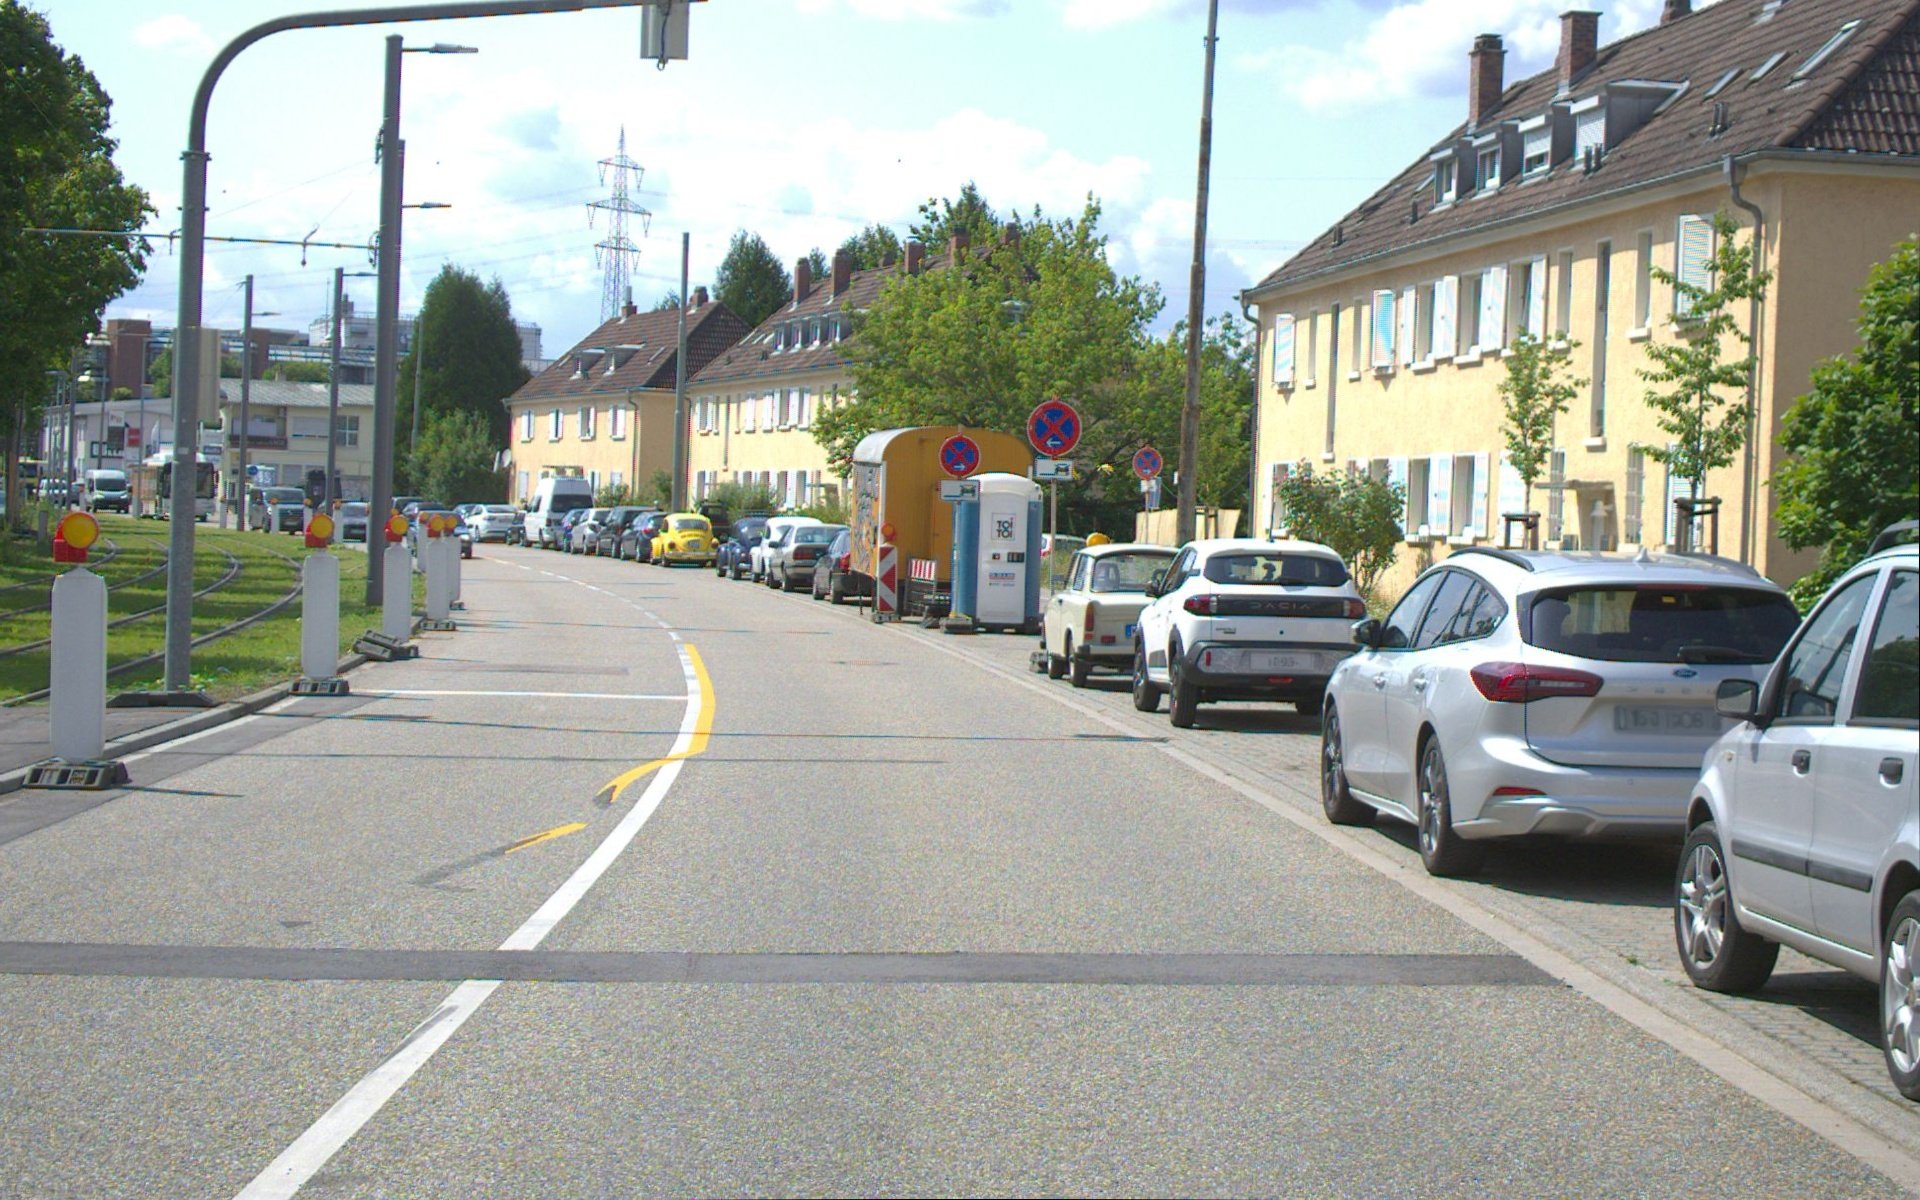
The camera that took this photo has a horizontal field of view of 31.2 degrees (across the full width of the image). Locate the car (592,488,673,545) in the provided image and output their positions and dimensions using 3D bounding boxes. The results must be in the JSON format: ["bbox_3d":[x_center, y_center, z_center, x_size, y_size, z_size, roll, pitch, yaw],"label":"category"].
[{"bbox_3d":[-10.036,-2.558,105.033,1.635,1.597,3.933,2,2,-17],"label":"car"}]

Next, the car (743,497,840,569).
[{"bbox_3d":[-3.820,-1.530,77.386,1.577,1.507,4.461,2,2,-10],"label":"car"}]

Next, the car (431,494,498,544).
[{"bbox_3d":[-14.900,-2.453,103.289,1.665,1.444,3.961,-1,2,-13],"label":"car"}]

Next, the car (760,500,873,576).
[{"bbox_3d":[-3.057,-1.323,72.348,1.706,1.444,4.837,2,2,-10],"label":"car"}]

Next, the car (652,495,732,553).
[{"bbox_3d":[-7.408,-2.123,94.761,1.636,1.477,3.933,-1,3,-13],"label":"car"}]

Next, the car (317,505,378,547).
[{"bbox_3d":[-22.199,-2.693,124.575,1.724,1.384,4.123,2,1,-16],"label":"car"}]

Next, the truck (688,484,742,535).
[{"bbox_3d":[-8.390,-3.104,117.674,1.346,1.682,2.442,2,1,-16],"label":"truck"}]

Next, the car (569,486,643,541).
[{"bbox_3d":[-11.234,-2.762,108.886,1.635,1.597,4.031,2,2,-15],"label":"car"}]

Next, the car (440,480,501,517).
[{"bbox_3d":[-19.390,-4.036,136.116,1.620,1.412,4.002,0,2,-20],"label":"car"}]

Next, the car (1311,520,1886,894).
[{"bbox_3d":[2.859,0.393,16.373,1.749,1.492,4.386,1,1,-2],"label":"car"}]

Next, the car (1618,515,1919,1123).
[{"bbox_3d":[3.246,0.532,10.550,1.628,1.544,3.810,1,1,-1],"label":"car"}]

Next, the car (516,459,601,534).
[{"bbox_3d":[-13.888,-3.592,118.669,1.928,2.472,5.520,1,2,-16],"label":"car"}]

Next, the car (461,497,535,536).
[{"bbox_3d":[-17.616,-3.186,130.950,1.798,1.453,4.767,0,2,-20],"label":"car"}]

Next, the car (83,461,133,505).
[{"bbox_3d":[-49.995,-6.889,201.616,2.102,2.435,5.573,2,1,-21],"label":"car"}]

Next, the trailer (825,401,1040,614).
[{"bbox_3d":[-0.528,-1.526,56.160,2.689,3.215,5.083,2,2,-9],"label":"trailer"}]

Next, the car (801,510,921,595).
[{"bbox_3d":[-1.890,-0.926,64.553,1.577,1.444,4.455,2,2,-10],"label":"car"}]

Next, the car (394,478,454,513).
[{"bbox_3d":[-22.560,-4.386,144.532,1.763,1.412,4.002,0,2,-20],"label":"car"}]

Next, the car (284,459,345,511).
[{"bbox_3d":[-32.004,-5.710,170.304,1.959,2.470,6.062,0,2,-21],"label":"car"}]

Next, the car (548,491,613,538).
[{"bbox_3d":[-12.536,-2.840,113.497,1.535,1.440,3.739,2,2,-15],"label":"car"}]

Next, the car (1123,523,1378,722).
[{"bbox_3d":[2.311,0.131,28.195,1.527,1.476,3.810,1,1,-3],"label":"car"}]

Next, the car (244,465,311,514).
[{"bbox_3d":[-28.480,-4.630,143.362,1.955,1.959,5.295,1,2,-20],"label":"car"}]

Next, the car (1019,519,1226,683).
[{"bbox_3d":[1.571,-0.034,34.554,1.463,1.497,4.110,1,1,-6],"label":"car"}]

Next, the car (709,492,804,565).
[{"bbox_3d":[-4.909,-1.735,82.413,1.548,1.635,4.248,2,2,-13],"label":"car"}]

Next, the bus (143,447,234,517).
[{"bbox_3d":[-39.606,-6.091,176.165,2.635,3.400,12.253,0,2,-22],"label":"bus"}]
